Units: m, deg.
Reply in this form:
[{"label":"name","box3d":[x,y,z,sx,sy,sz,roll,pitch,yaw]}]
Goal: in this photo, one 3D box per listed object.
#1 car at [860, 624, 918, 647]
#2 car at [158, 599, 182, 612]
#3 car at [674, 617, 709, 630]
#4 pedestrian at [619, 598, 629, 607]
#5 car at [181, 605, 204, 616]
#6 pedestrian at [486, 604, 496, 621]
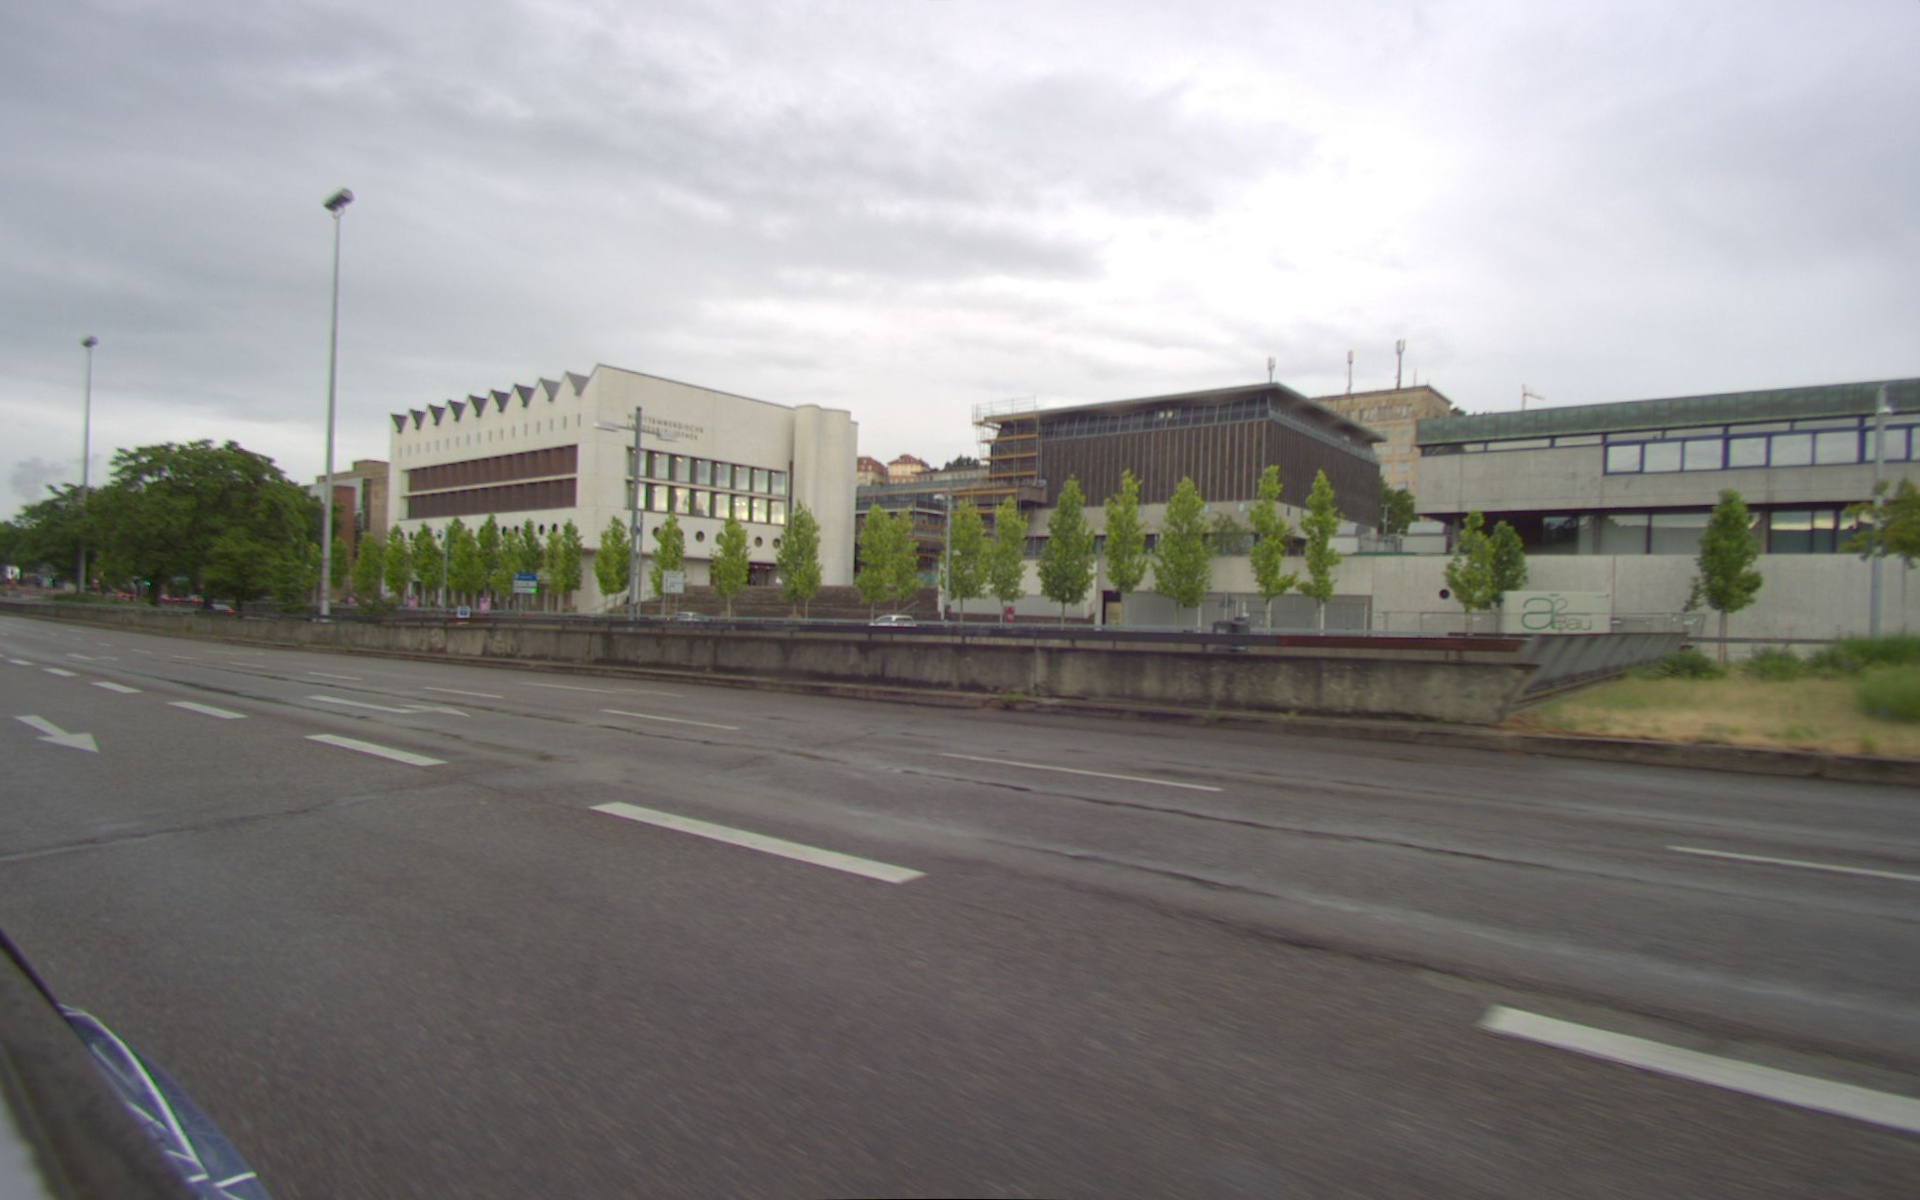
[{"label":"car","box3d":[-3.874,1.893,54.852,3.018,1.122,1.426,1,0,40]},{"label":"car","box3d":[-102.154,0.691,130.809,3.471,1.567,1.678,1,0,38]},{"label":"car","box3d":[-17.445,1.537,65.829,2.550,0.751,0.811,1,0,37]},{"label":"pedestrian","box3d":[-33.393,0.261,100.594,0.628,0.894,0.798,1,0,42]},{"label":"car","box3d":[-89.441,1.195,117.961,3.541,1.236,1.549,1,0,42]},{"label":"pedestrian","box3d":[-50.755,1.377,109.485,0.729,1.873,0.703,1,0,-7]}]
